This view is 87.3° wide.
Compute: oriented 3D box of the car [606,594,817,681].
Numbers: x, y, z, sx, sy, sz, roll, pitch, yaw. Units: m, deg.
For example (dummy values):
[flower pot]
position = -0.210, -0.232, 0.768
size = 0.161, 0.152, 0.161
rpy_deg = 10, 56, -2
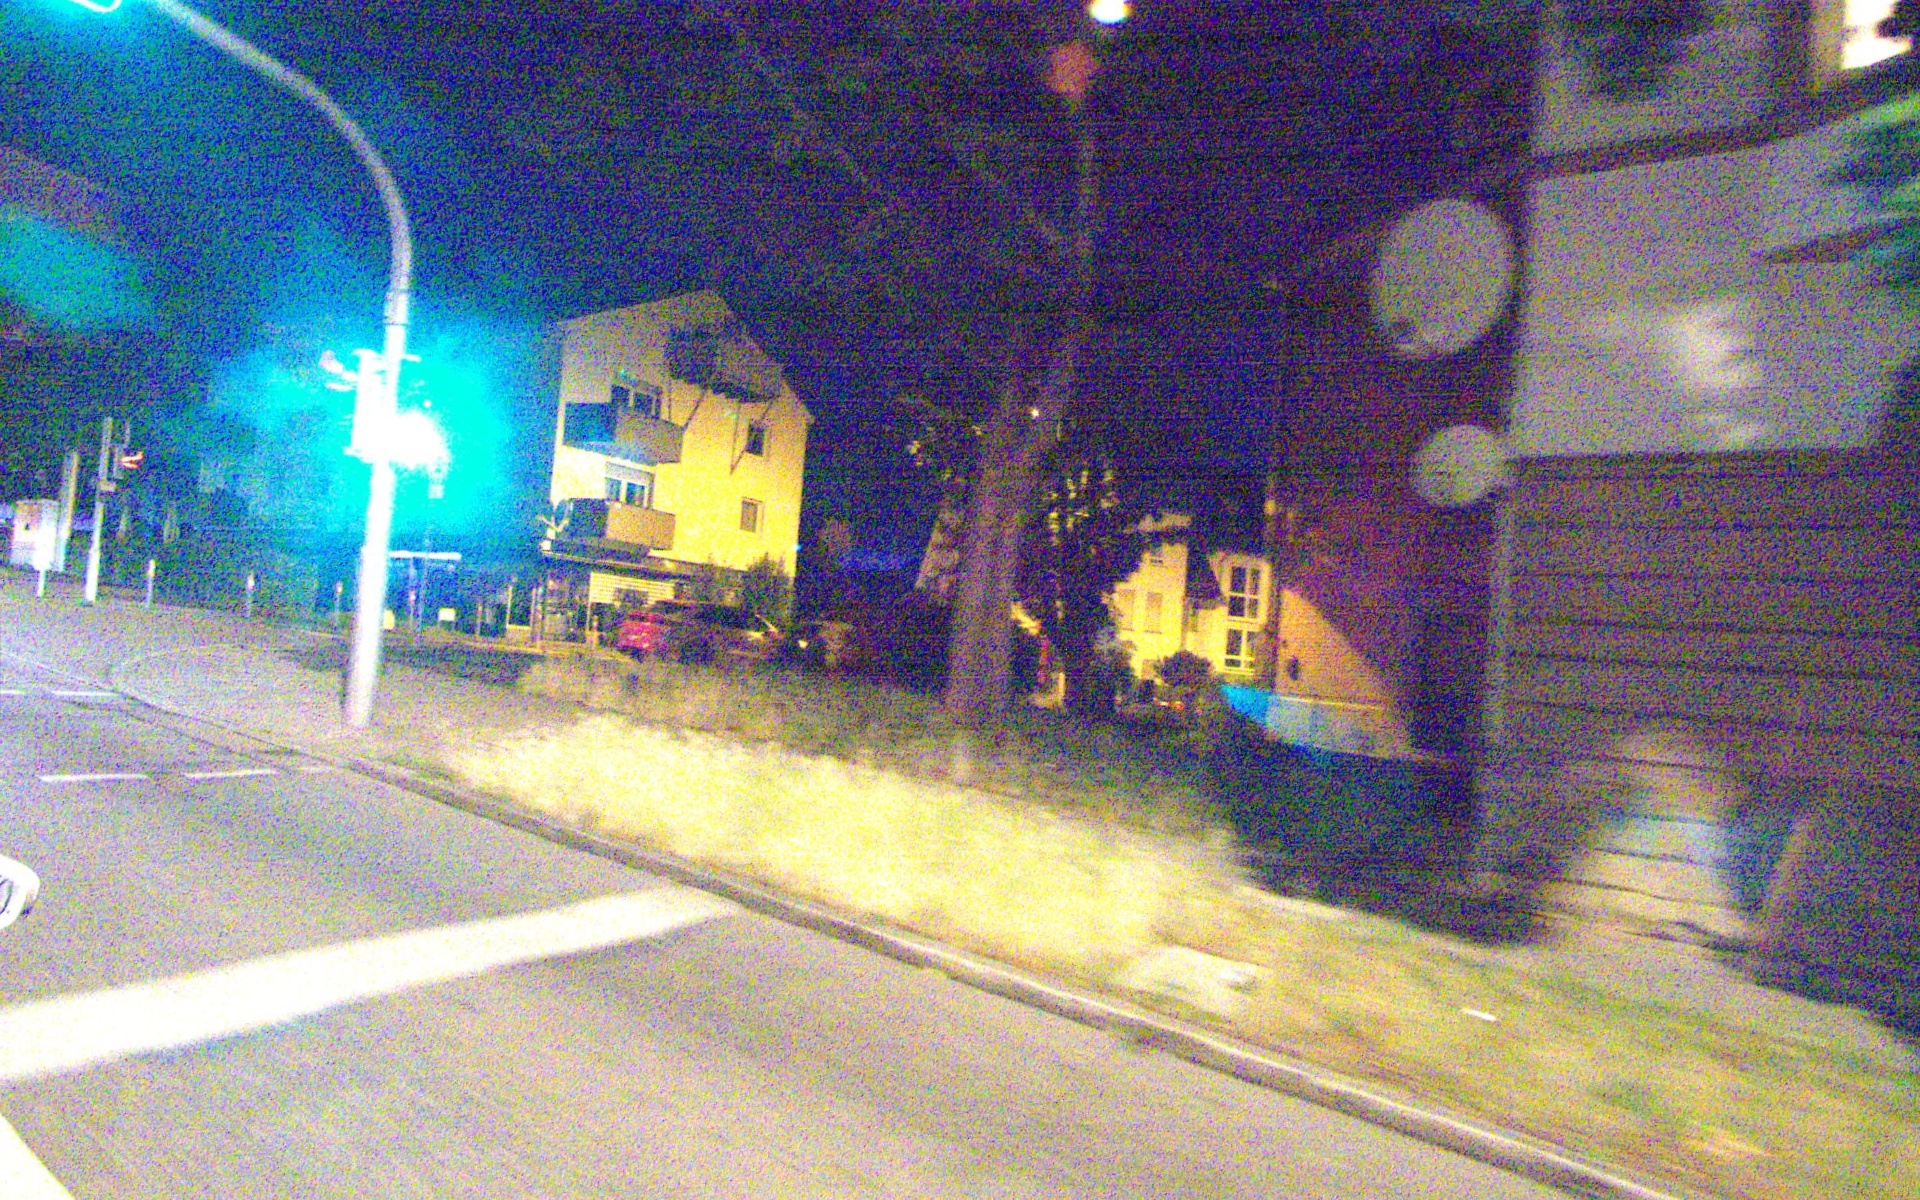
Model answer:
[car]
position = -5.475, 0.891, 22.667
size = 1.778, 1.577, 4.366
rpy_deg = 2, -4, 38
